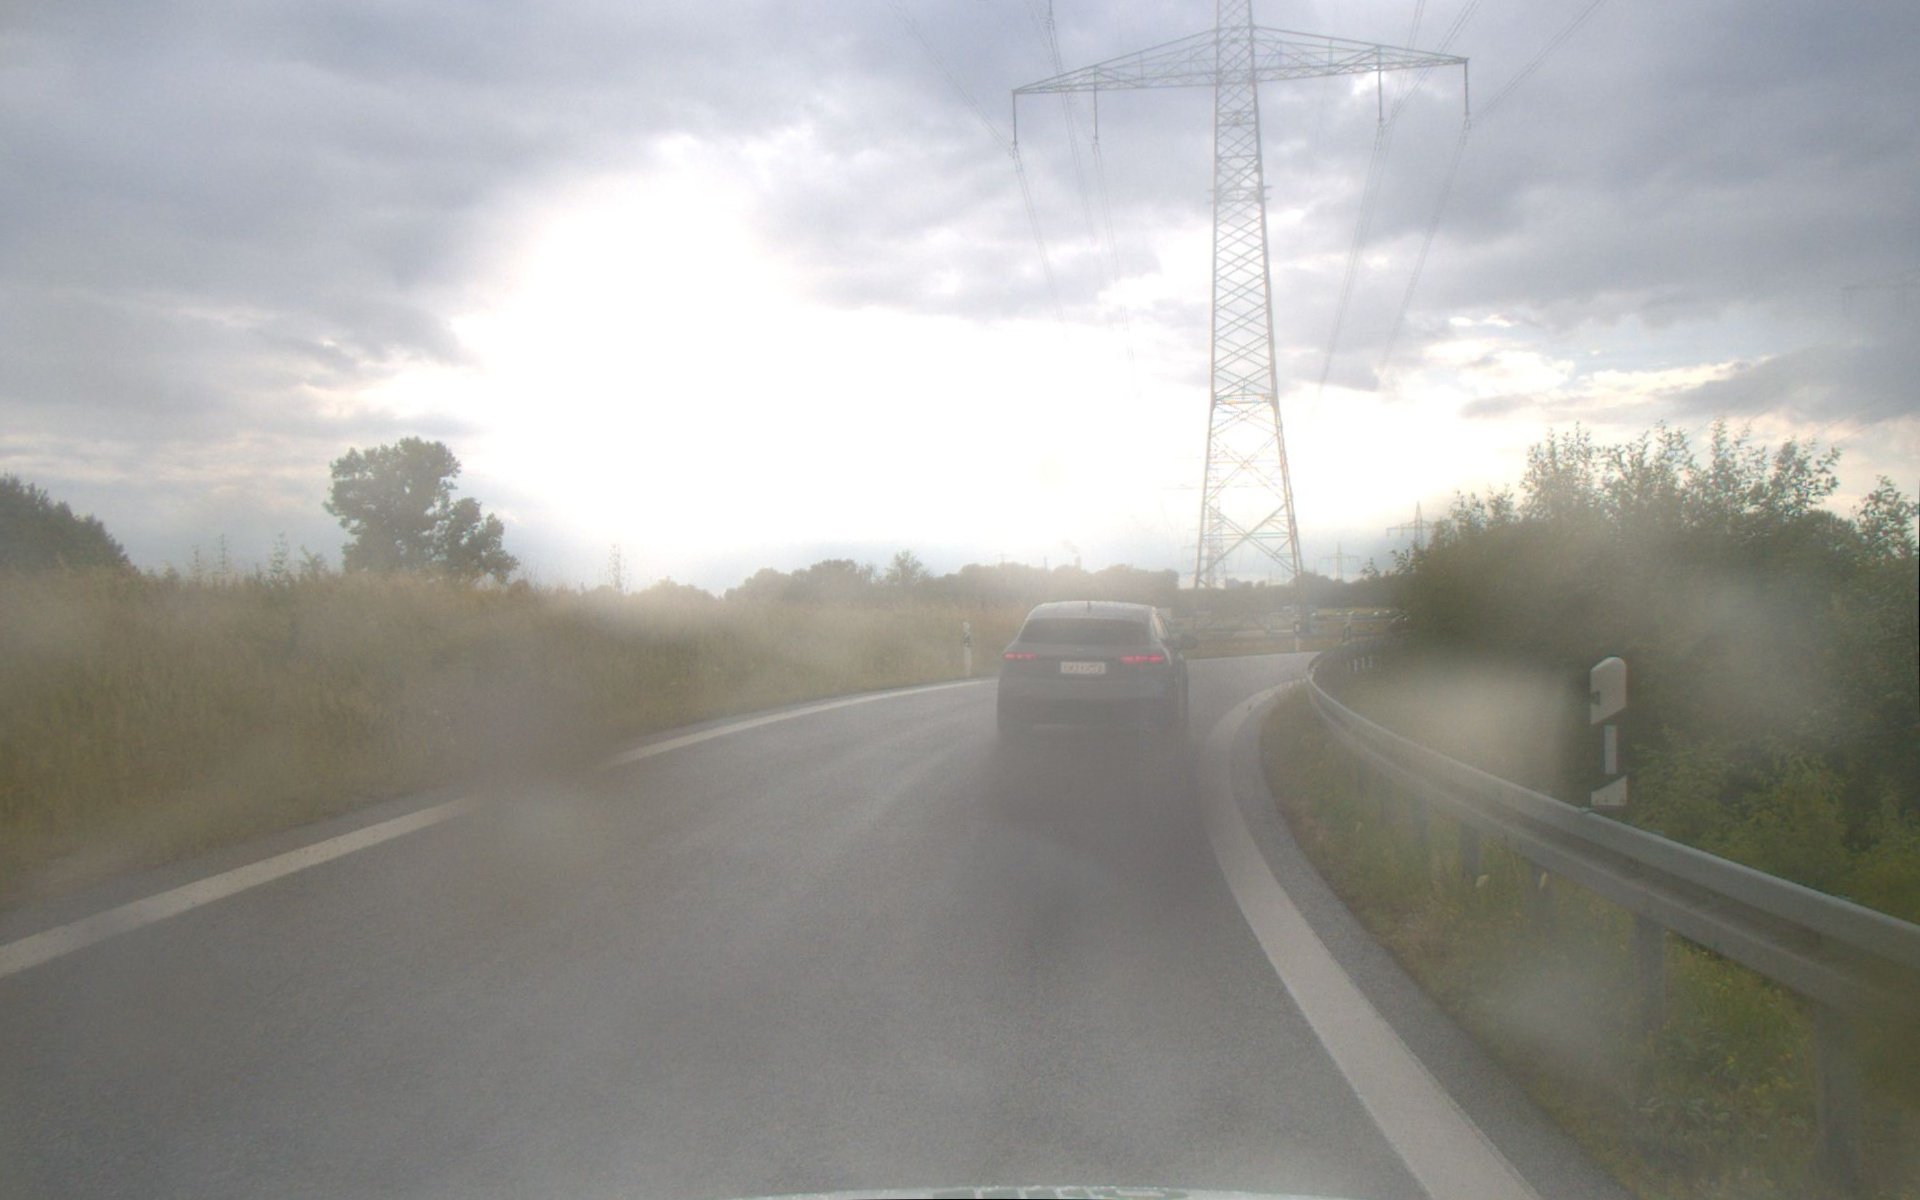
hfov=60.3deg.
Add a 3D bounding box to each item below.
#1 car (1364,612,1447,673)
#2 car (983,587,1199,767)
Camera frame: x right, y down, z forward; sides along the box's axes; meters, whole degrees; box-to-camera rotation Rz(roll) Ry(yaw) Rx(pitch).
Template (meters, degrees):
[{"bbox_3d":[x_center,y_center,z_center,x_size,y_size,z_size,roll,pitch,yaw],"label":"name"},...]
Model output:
[{"bbox_3d":[15.946,1.488,58.985,2.078,2.053,5.533,-2,-1,23],"label":"car"},{"bbox_3d":[1.490,0.686,17.301,1.951,1.594,4.152,1,1,8],"label":"car"}]
